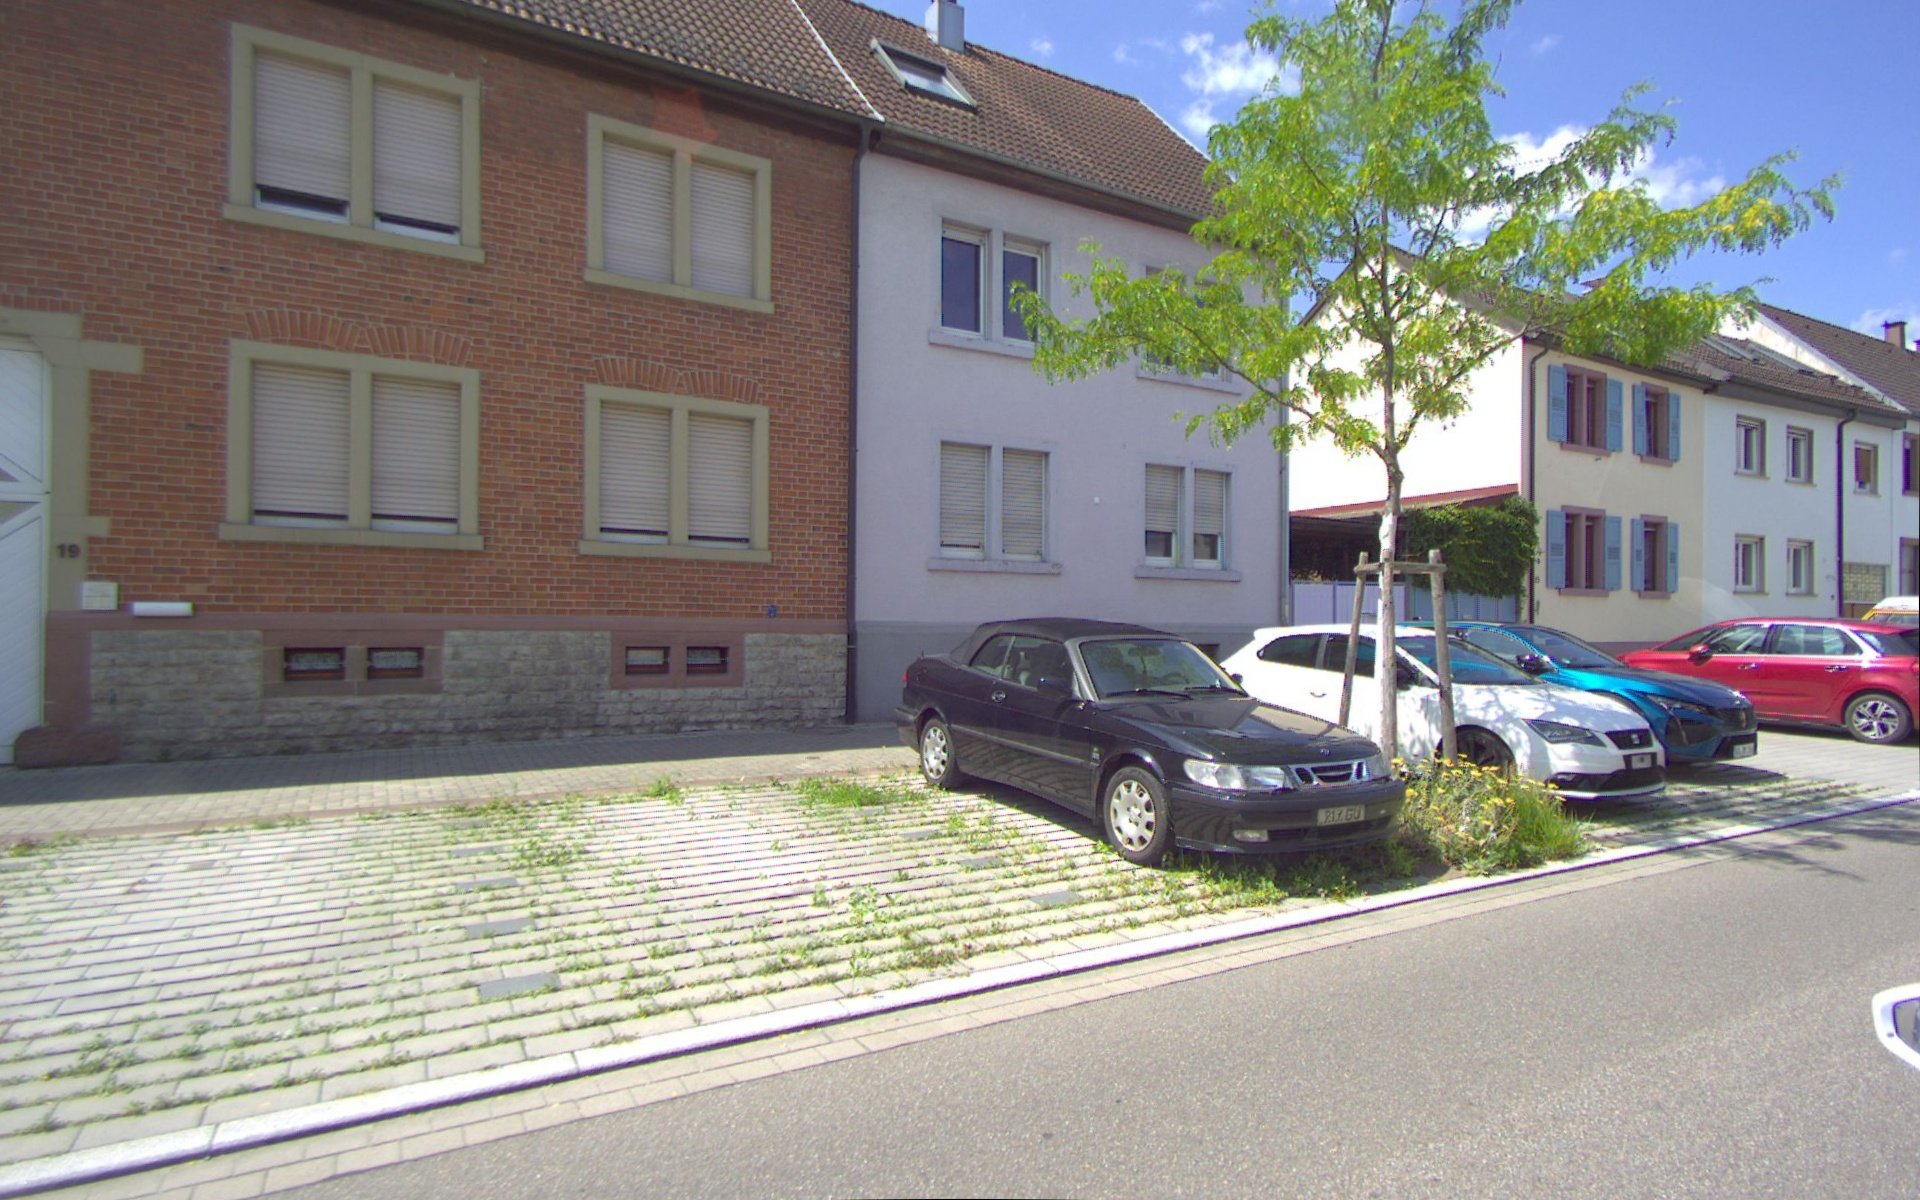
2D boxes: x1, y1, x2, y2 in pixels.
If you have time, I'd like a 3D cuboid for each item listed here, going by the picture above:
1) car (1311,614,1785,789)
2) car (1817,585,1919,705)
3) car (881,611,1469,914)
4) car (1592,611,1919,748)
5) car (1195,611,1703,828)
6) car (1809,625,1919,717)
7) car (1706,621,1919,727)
[{"bbox_3d":[6.427,0.972,11.527,1.757,1.497,4.378,1,0,-33],"label":"car"},{"bbox_3d":[18.886,0.858,18.386,1.902,2.206,4.488,1,0,-29],"label":"car"},{"bbox_3d":[1.166,0.871,7.526,1.774,1.444,4.503,1,0,-29],"label":"car"},{"bbox_3d":[11.943,1.042,14.666,1.821,1.633,4.233,1,0,-30],"label":"car"},{"bbox_3d":[4.336,0.916,9.552,1.756,1.497,4.031,1,0,-32],"label":"car"},{"bbox_3d":[16.953,1.238,16.682,1.734,1.479,3.992,1,0,-29],"label":"car"},{"bbox_3d":[14.420,1.141,15.935,1.736,1.479,3.770,1,0,-32],"label":"car"}]
